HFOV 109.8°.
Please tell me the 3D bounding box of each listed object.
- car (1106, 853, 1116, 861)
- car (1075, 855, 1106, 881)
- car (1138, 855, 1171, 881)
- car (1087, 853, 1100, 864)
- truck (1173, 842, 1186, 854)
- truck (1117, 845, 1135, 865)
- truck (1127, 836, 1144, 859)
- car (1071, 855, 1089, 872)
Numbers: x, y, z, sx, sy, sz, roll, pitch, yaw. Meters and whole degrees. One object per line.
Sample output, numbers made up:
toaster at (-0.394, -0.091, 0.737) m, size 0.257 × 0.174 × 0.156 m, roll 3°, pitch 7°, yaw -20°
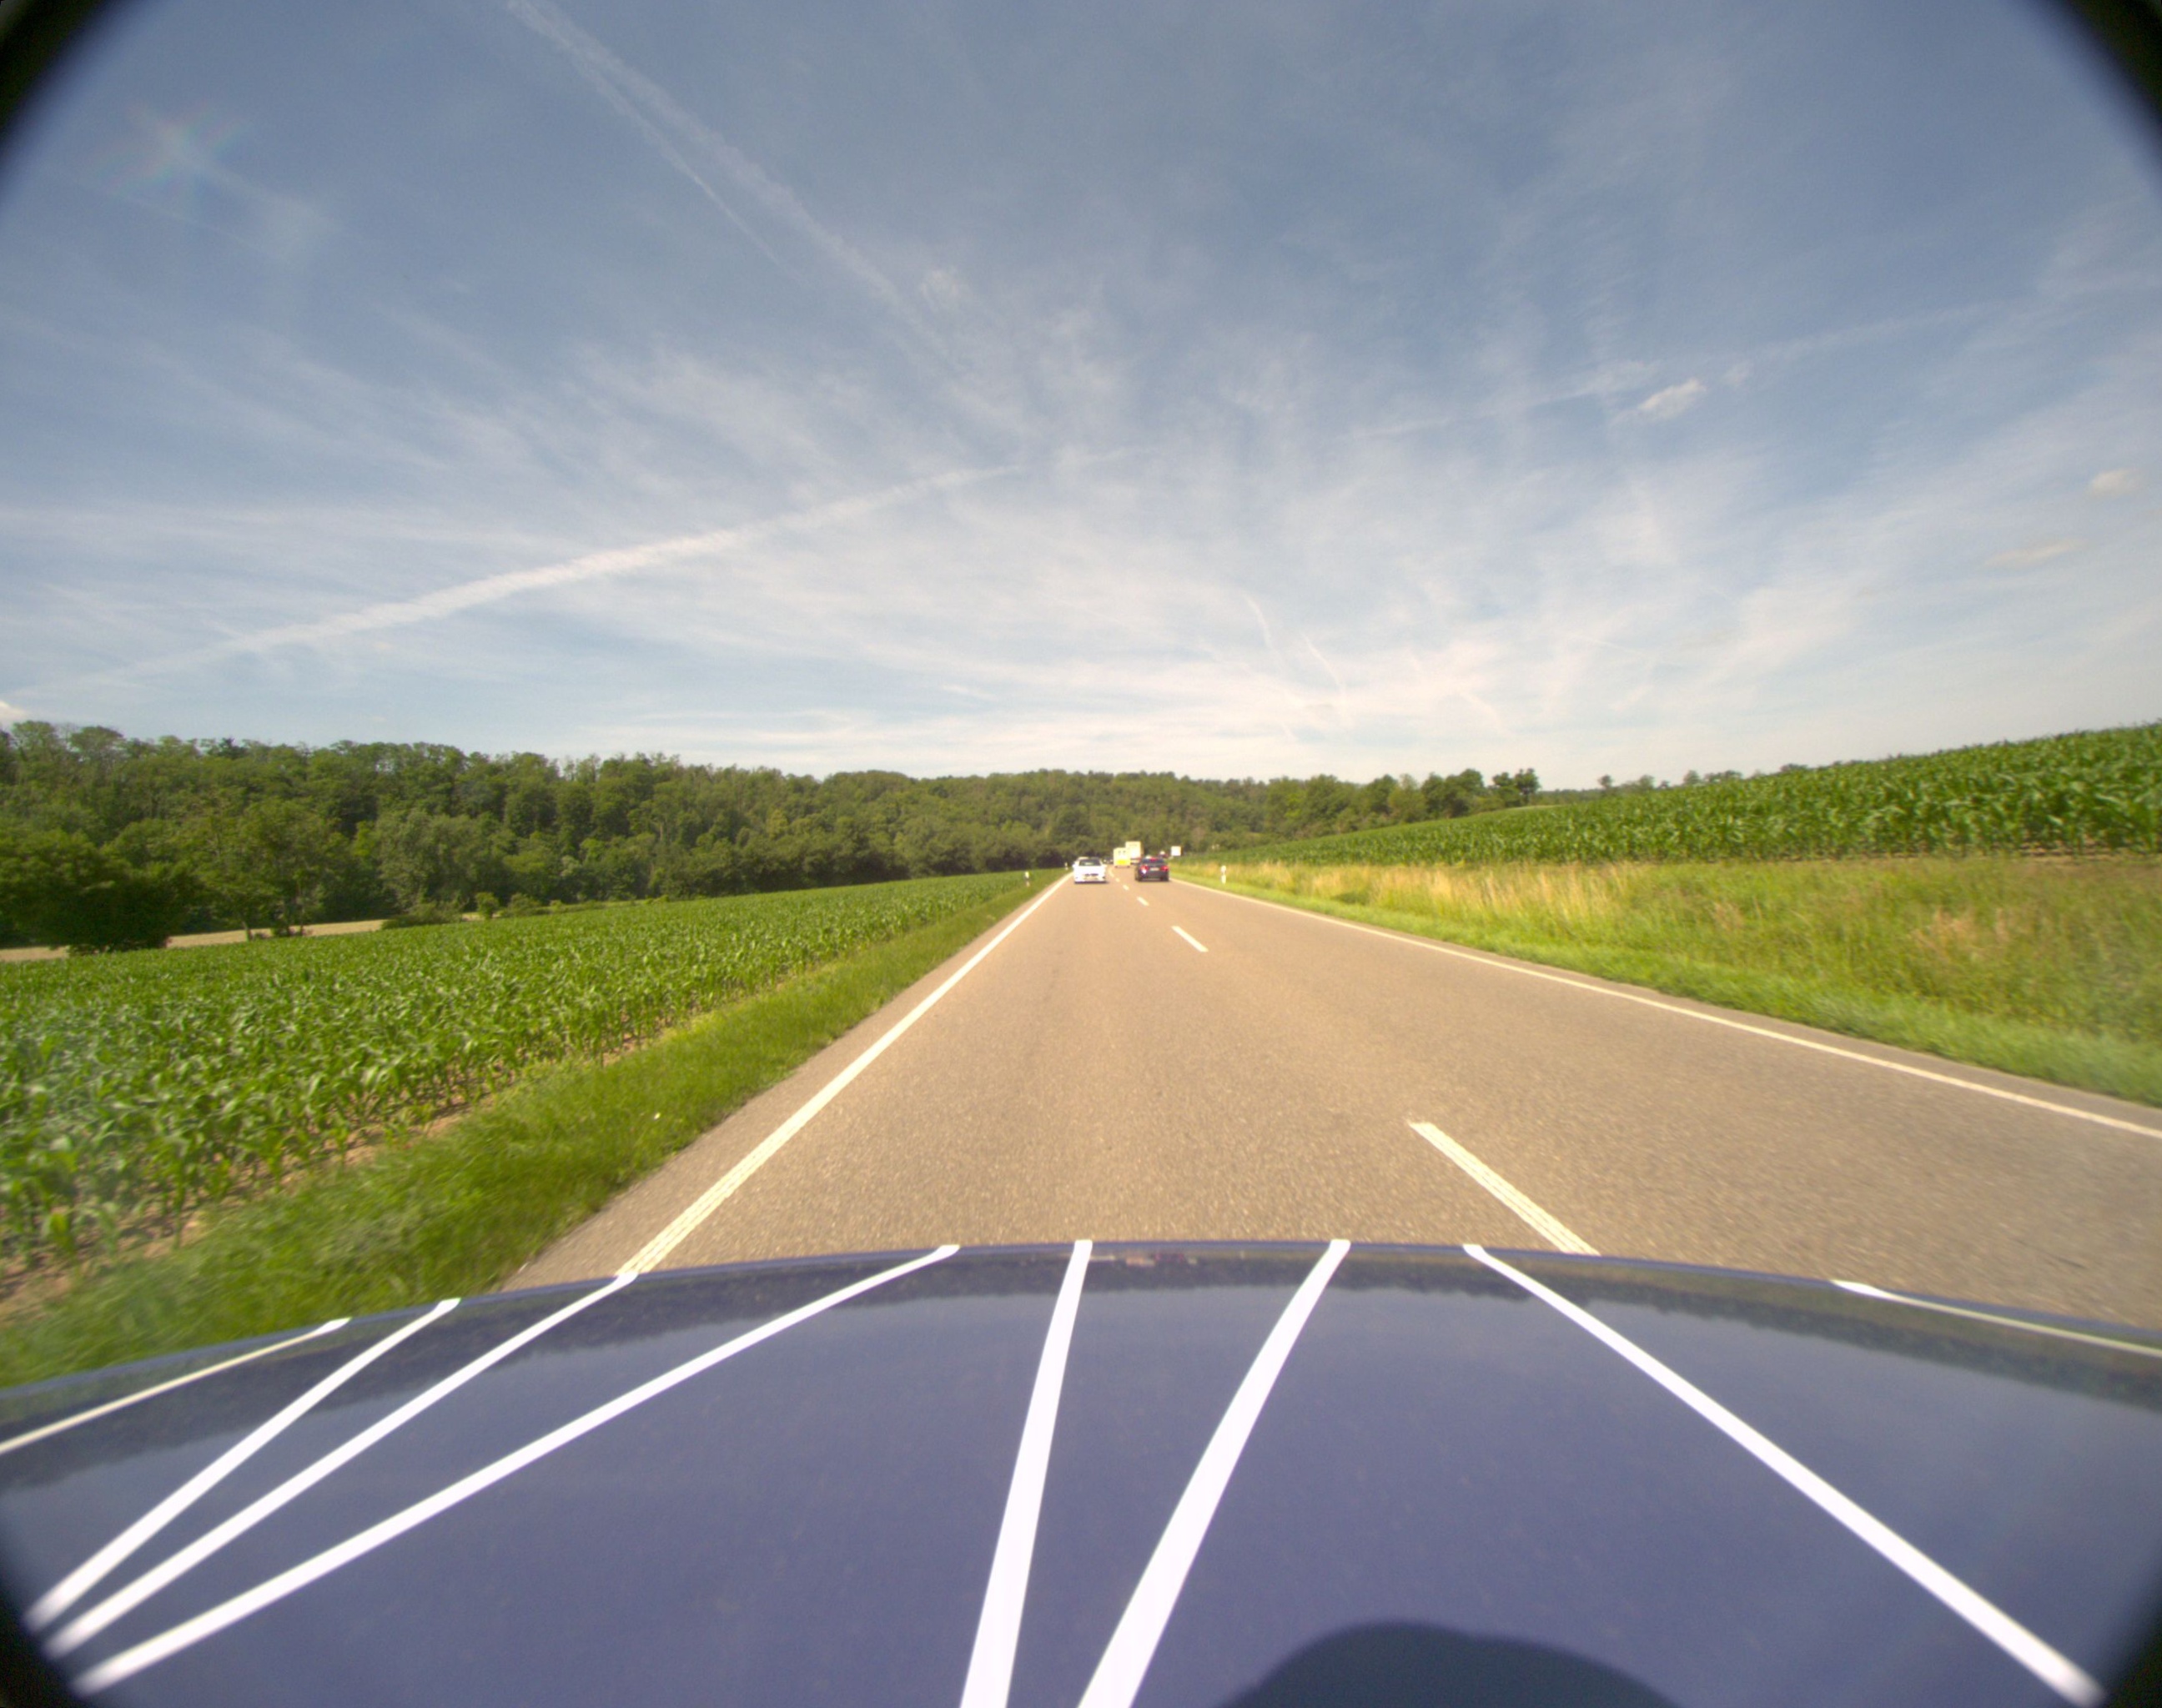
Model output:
car at (5.582, 0.570, 139.812) m, size 1.743 × 1.445 × 4.035 m, roll -1°, pitch 1°, yaw 2°
car at (0.548, 0.818, 46.720) m, size 1.743 × 1.445 × 4.034 m, roll -1°, pitch 1°, yaw 0°
car at (4.492, 0.827, 46.844) m, size 1.677 × 1.448 × 4.350 m, roll -1°, pitch 0°, yaw 1°
car at (1.925, 0.685, 113.283) m, size 1.742 × 1.445 × 4.036 m, roll -1°, pitch 1°, yaw 3°
truck at (29.747, -1.880, 229.276) m, size 2.745 × 3.558 × 9.736 m, roll -1°, pitch 0°, yaw 14°
truck at (6.197, 0.083, 105.777) m, size 2.213 × 2.656 × 6.416 m, roll 0°, pitch 1°, yaw 1°
truck at (9.991, -1.198, 140.507) m, size 2.833 × 3.969 × 16.536 m, roll 0°, pitch 0°, yaw 3°
car at (-0.083, 0.986, 80.213) m, size 1.717 × 1.523 × 3.999 m, roll -2°, pitch 1°, yaw 1°
